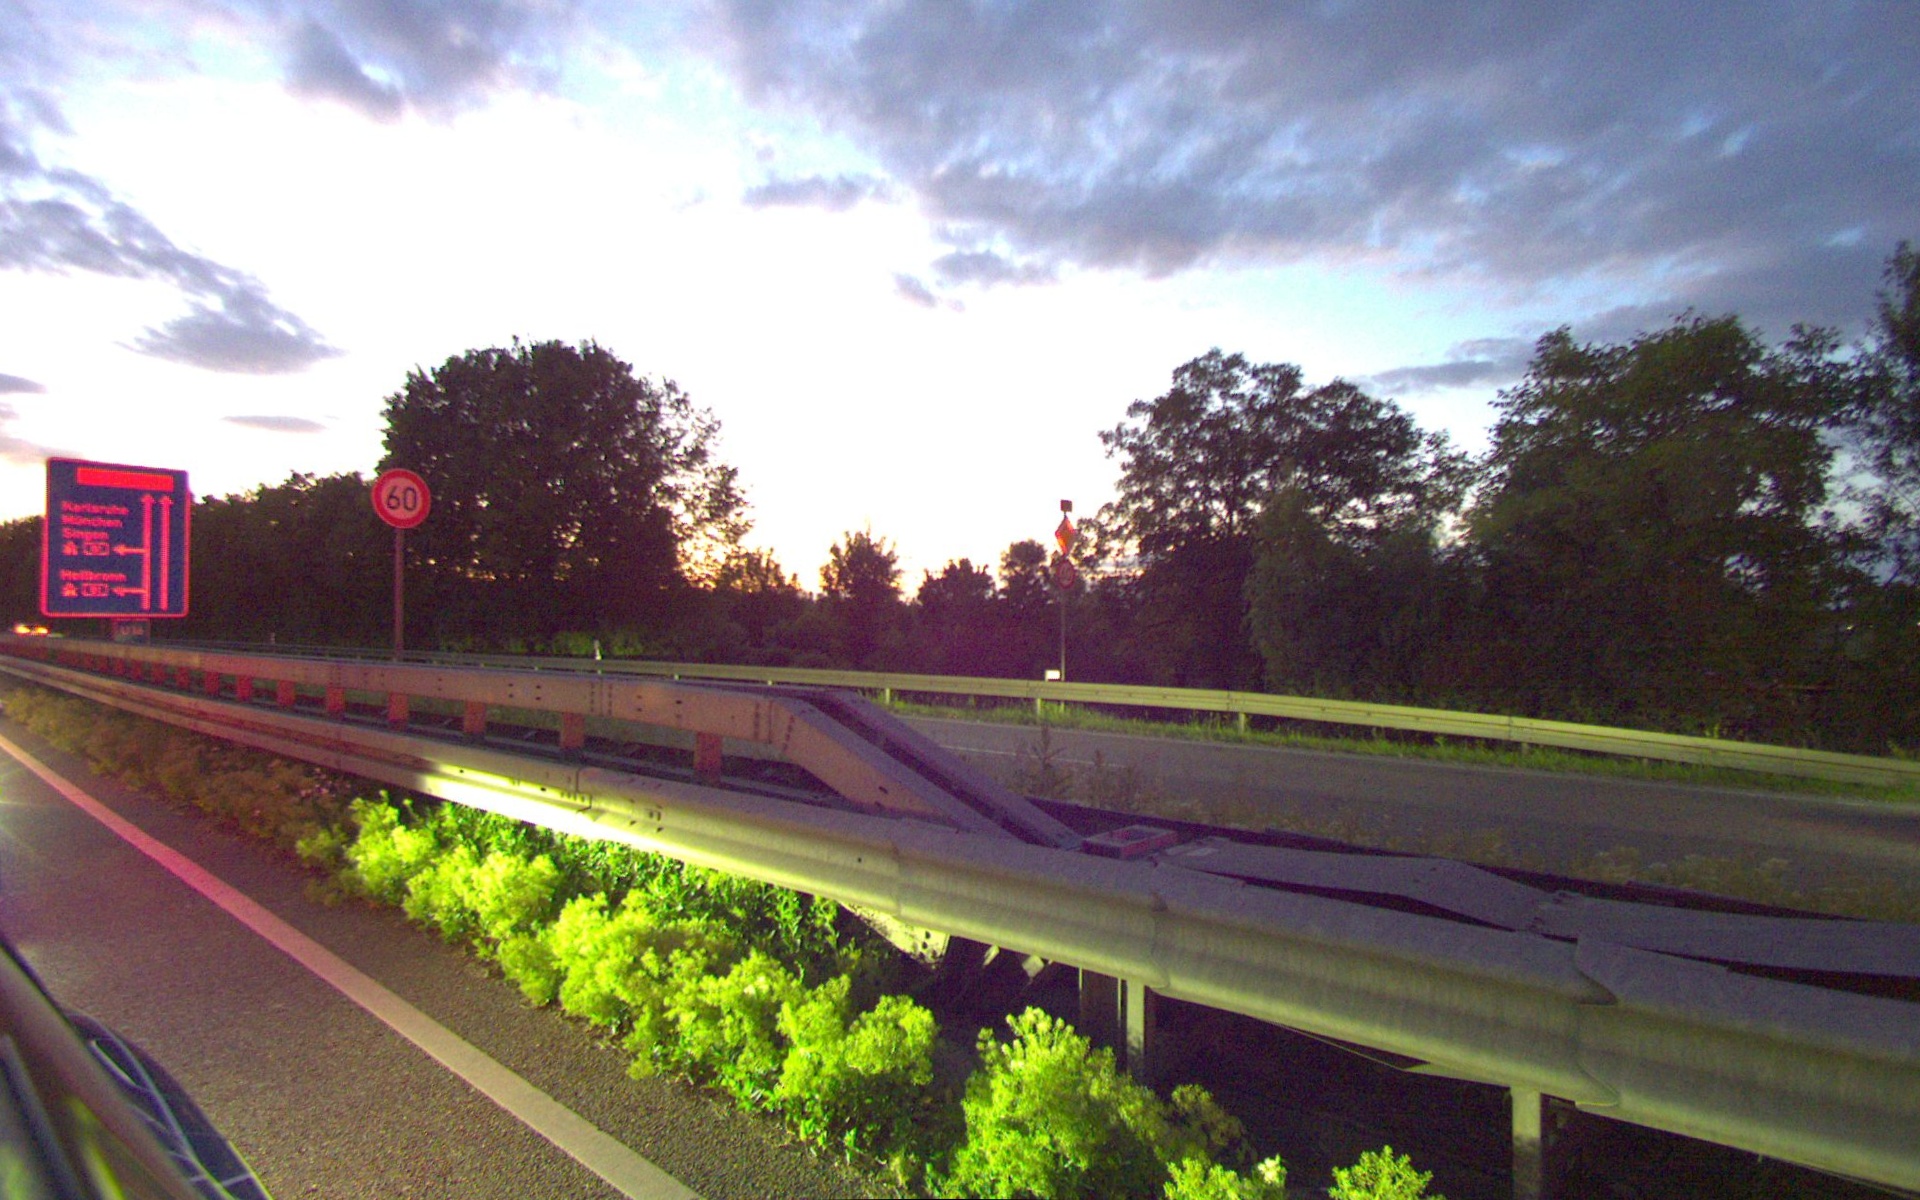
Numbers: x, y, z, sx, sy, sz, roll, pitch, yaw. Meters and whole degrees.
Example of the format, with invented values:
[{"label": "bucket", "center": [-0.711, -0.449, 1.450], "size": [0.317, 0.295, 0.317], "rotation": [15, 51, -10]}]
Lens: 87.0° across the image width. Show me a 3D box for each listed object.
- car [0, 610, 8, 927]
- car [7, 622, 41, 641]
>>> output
[{"label": "car", "center": [-6.684, 0.848, 5.529], "size": [4.645, 1.447, 1.795], "rotation": [-2, -1, 42]}, {"label": "car", "center": [-81.158, 2.715, 87.781], "size": [3.998, 1.572, 1.758], "rotation": [-1, 0, 41]}]
